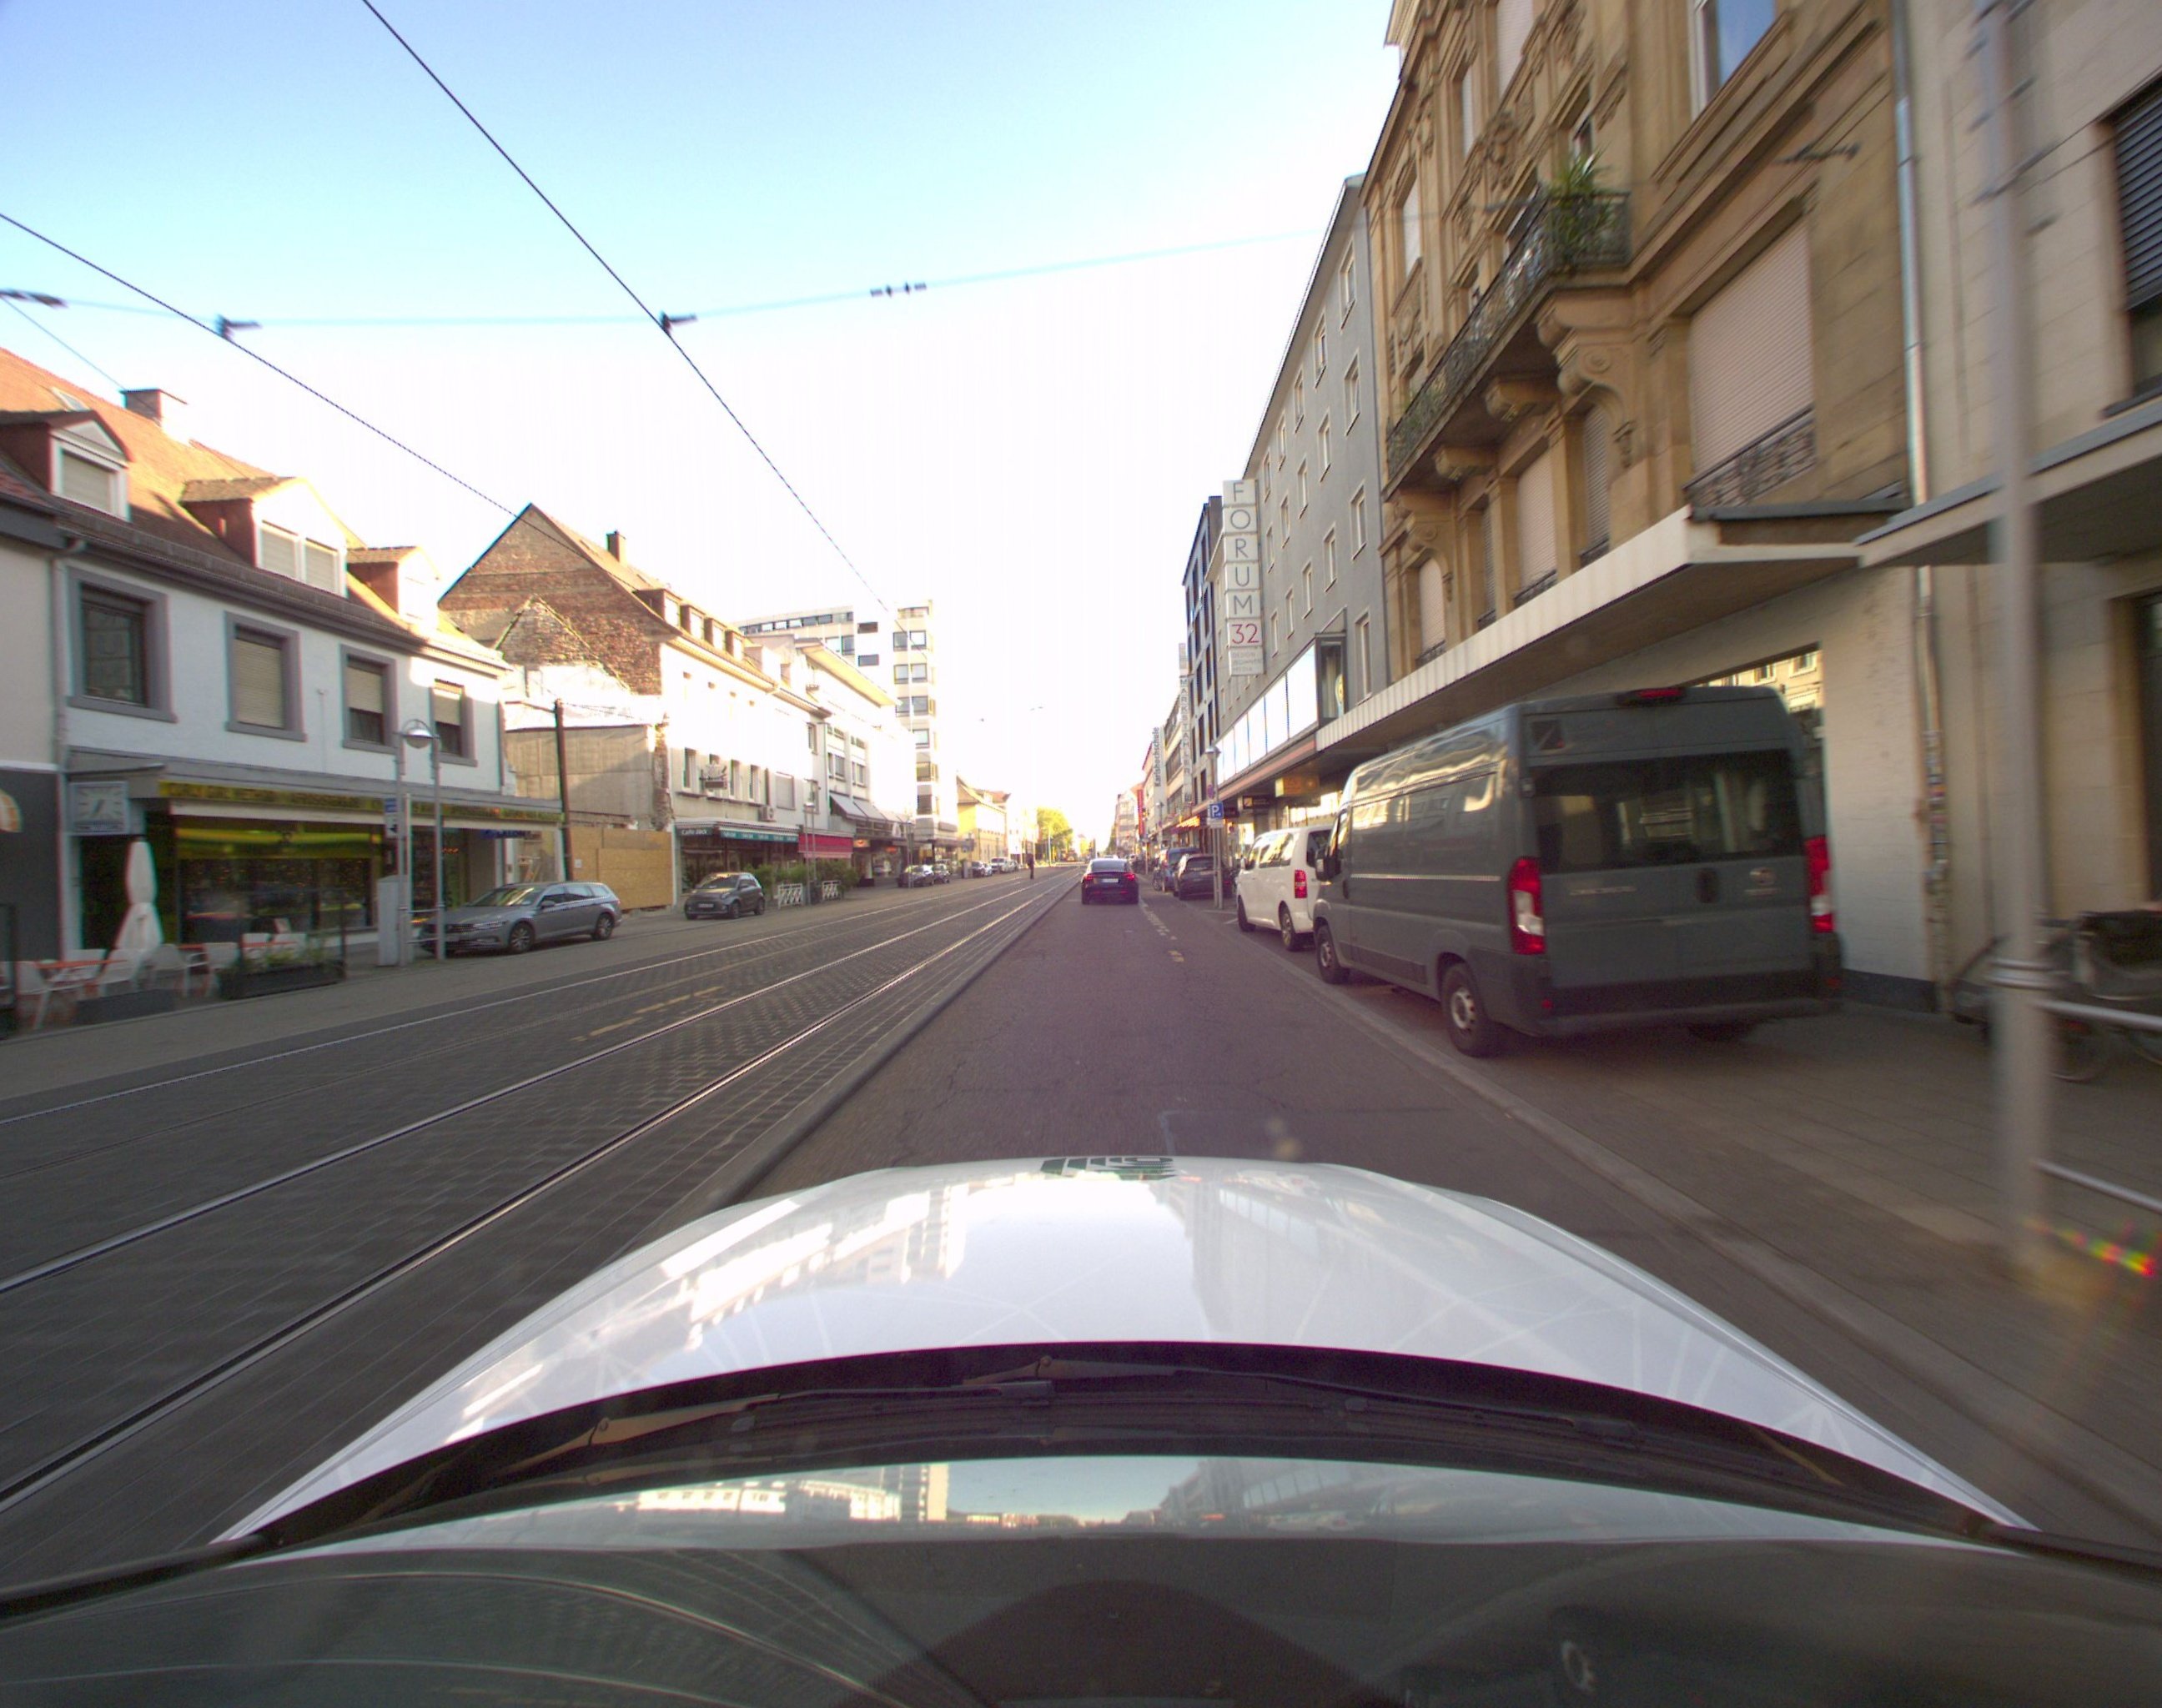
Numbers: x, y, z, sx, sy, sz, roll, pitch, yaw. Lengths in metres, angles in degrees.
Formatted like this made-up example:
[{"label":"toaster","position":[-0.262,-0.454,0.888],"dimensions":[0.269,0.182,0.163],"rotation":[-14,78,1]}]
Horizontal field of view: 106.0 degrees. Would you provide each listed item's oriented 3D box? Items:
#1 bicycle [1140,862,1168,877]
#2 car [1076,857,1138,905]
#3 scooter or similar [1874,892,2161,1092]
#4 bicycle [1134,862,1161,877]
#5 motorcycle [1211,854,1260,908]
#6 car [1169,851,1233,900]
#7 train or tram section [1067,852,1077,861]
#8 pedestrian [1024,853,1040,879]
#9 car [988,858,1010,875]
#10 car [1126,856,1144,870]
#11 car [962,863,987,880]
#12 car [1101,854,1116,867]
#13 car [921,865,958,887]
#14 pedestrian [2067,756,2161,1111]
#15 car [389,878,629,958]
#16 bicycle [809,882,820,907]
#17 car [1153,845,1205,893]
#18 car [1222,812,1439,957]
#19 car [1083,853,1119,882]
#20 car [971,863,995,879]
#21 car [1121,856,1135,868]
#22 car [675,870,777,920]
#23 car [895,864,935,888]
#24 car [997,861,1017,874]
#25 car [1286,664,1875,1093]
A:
[{"label":"bicycle","position":[5.832,1.222,65.270],"dimensions":[2.153,1.097,0.686],"rotation":[-2,-1,-1]},{"label":"car","position":[0.896,0.842,27.352],"dimensions":[1.862,1.427,4.367],"rotation":[-1,0,2]},{"label":"scooter or similar","position":[5.668,0.739,4.834],"dimensions":[0.591,0.936,1.298],"rotation":[-4,-1,0]},{"label":"bicycle","position":[5.383,1.260,66.165],"dimensions":[2.153,1.097,0.686],"rotation":[-2,-1,-1]},{"label":"motorcycle","position":[4.241,0.724,22.513],"dimensions":[0.810,1.315,2.634],"rotation":[-6,-1,2]},{"label":"car","position":[4.038,0.698,27.964],"dimensions":[1.745,1.499,3.755],"rotation":[-2,0,2]},{"label":"train or tram section","position":[-2.633,0.657,240.285],"dimensions":[1.984,2.634,6.810],"rotation":[-2,0,5]},{"label":"pedestrian","position":[-3.559,0.905,59.289],"dimensions":[0.764,1.849,0.833],"rotation":[-2,-1,30]},{"label":"car","position":[-9.924,1.499,99.058],"dimensions":[2.001,1.961,4.726],"rotation":[-2,0,2]},{"label":"car","position":[6.278,1.114,94.986],"dimensions":[1.986,1.543,4.001],"rotation":[-2,-1,2]},{"label":"car","position":[-10.394,1.691,79.725],"dimensions":[1.710,1.571,3.853],"rotation":[-2,0,4]},{"label":"car","position":[4.056,0.903,117.825],"dimensions":[2.077,1.871,3.755],"rotation":[-1,0,2]},{"label":"car","position":[-10.828,1.685,62.490],"dimensions":[1.761,1.508,3.866],"rotation":[-2,0,5]},{"label":"pedestrian","position":[5.466,0.372,3.759],"dimensions":[0.554,1.714,0.954],"rotation":[-4,-1,0]},{"label":"car","position":[-12.612,1.337,18.458],"dimensions":[1.986,1.532,4.757],"rotation":[-1,-2,1]},{"label":"bicycle","position":[-11.508,1.720,35.129],"dimensions":[0.369,1.002,1.596],"rotation":[-2,-1,-16]},{"label":"car","position":[4.040,0.592,34.106],"dimensions":[1.814,1.871,3.755],"rotation":[-1,0,2]},{"label":"car","position":[4.027,0.451,14.141],"dimensions":[2.152,1.926,4.615],"rotation":[-5,0,-1]},{"label":"car","position":[1.053,0.748,43.695],"dimensions":[1.756,1.419,4.354],"rotation":[-2,-1,1]},{"label":"car","position":[-10.265,1.778,85.674],"dimensions":[1.762,1.508,3.975],"rotation":[-2,0,4]},{"label":"car","position":[7.176,1.250,123.482],"dimensions":[1.986,1.753,4.001],"rotation":[-2,-1,2]},{"label":"car","position":[-12.134,1.354,28.091],"dimensions":[1.668,1.546,3.747],"rotation":[0,0,4]},{"label":"car","position":[-11.428,1.478,56.367],"dimensions":[1.762,1.508,3.867],"rotation":[-2,0,3]},{"label":"car","position":[-9.646,1.744,106.005],"dimensions":[1.980,1.613,4.276],"rotation":[-2,0,2]},{"label":"car","position":[3.691,0.153,7.610],"dimensions":[2.164,2.461,5.363],"rotation":[-4,0,1]}]
